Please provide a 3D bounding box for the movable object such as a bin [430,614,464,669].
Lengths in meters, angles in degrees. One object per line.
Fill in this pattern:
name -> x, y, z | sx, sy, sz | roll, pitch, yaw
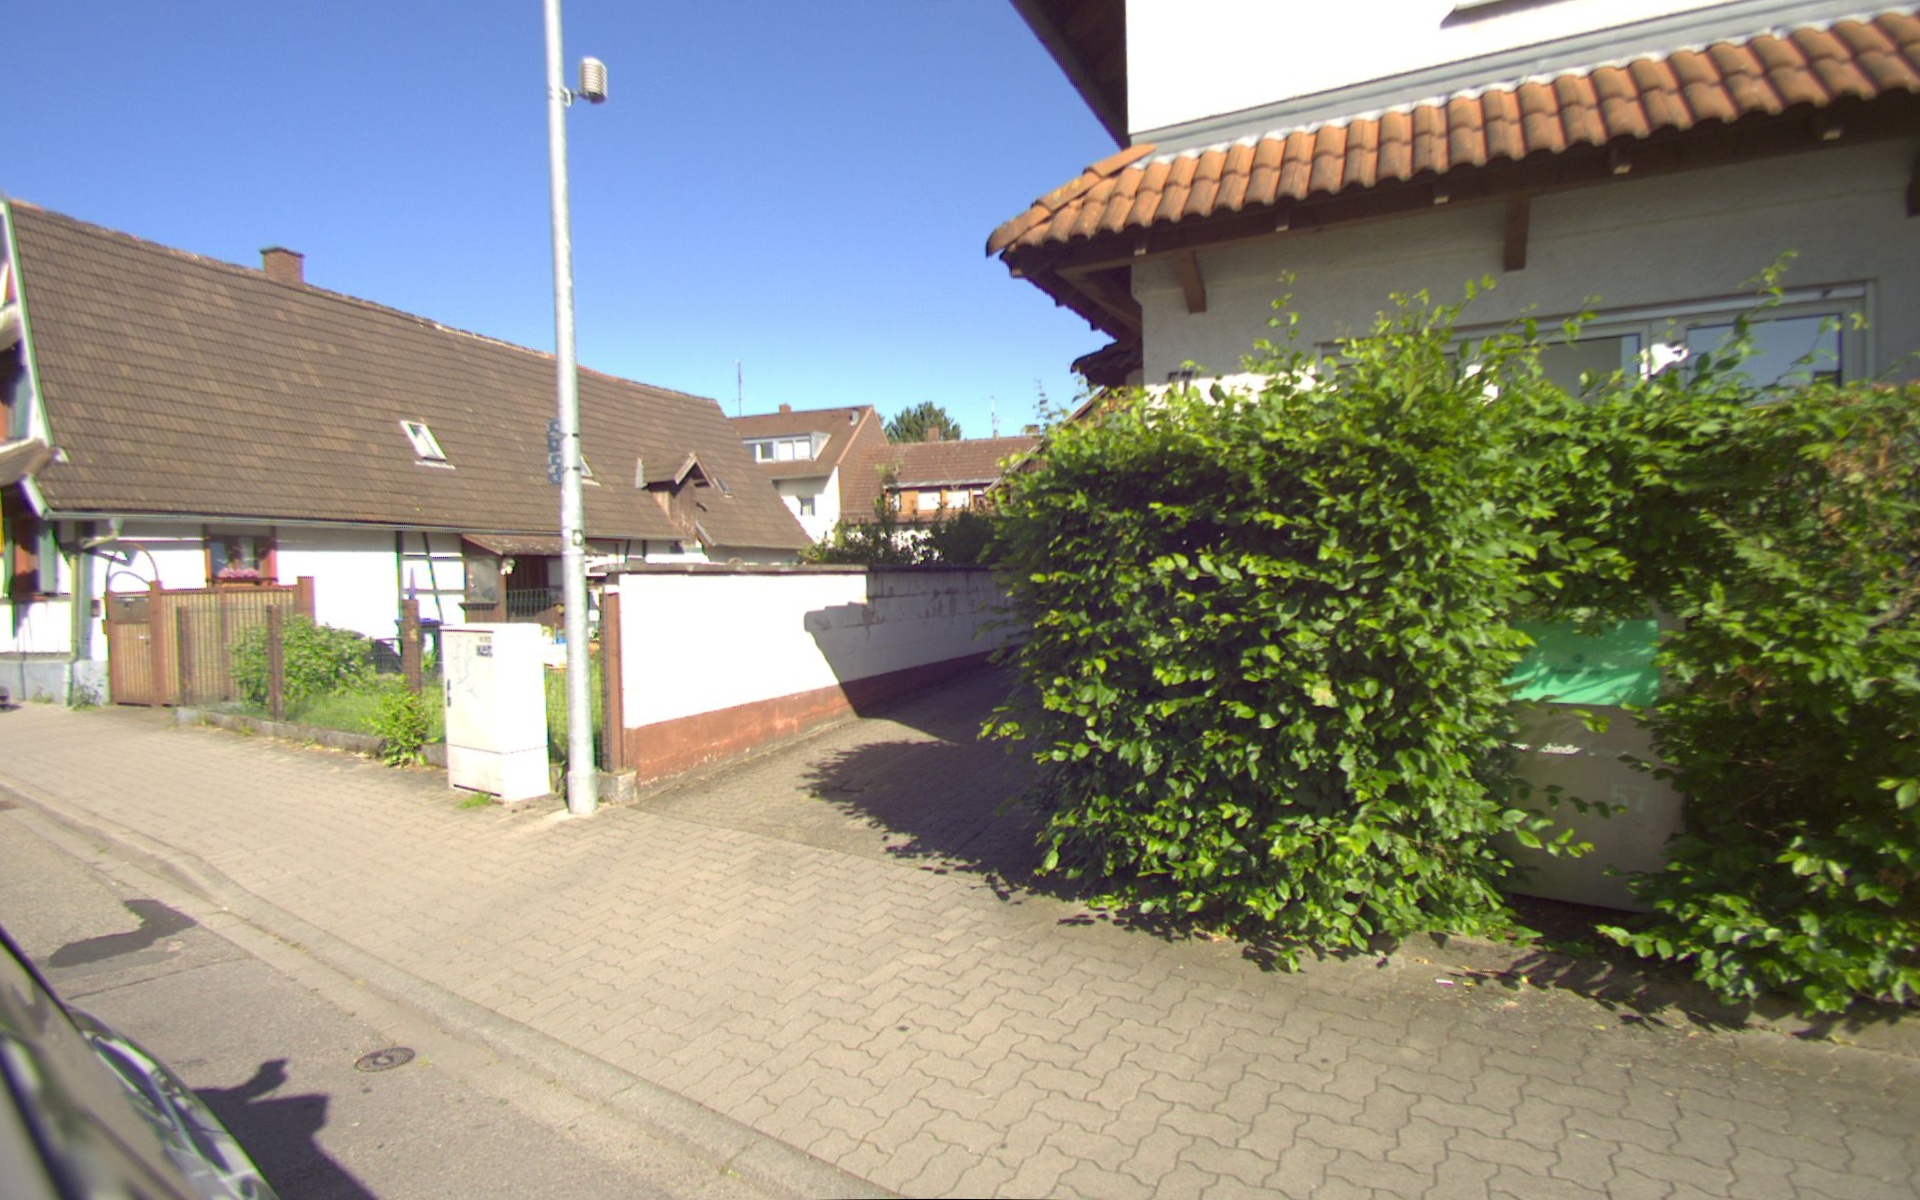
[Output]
movable object such as a bin -> -9.834, 0.789, 19.409 | 0.361, 1.023, 0.415 | -2, 1, 25

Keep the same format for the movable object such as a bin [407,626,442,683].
movable object such as a bin -> -10.020, 1.012, 18.939 | 0.361, 1.023, 0.415 | -2, 1, 25
